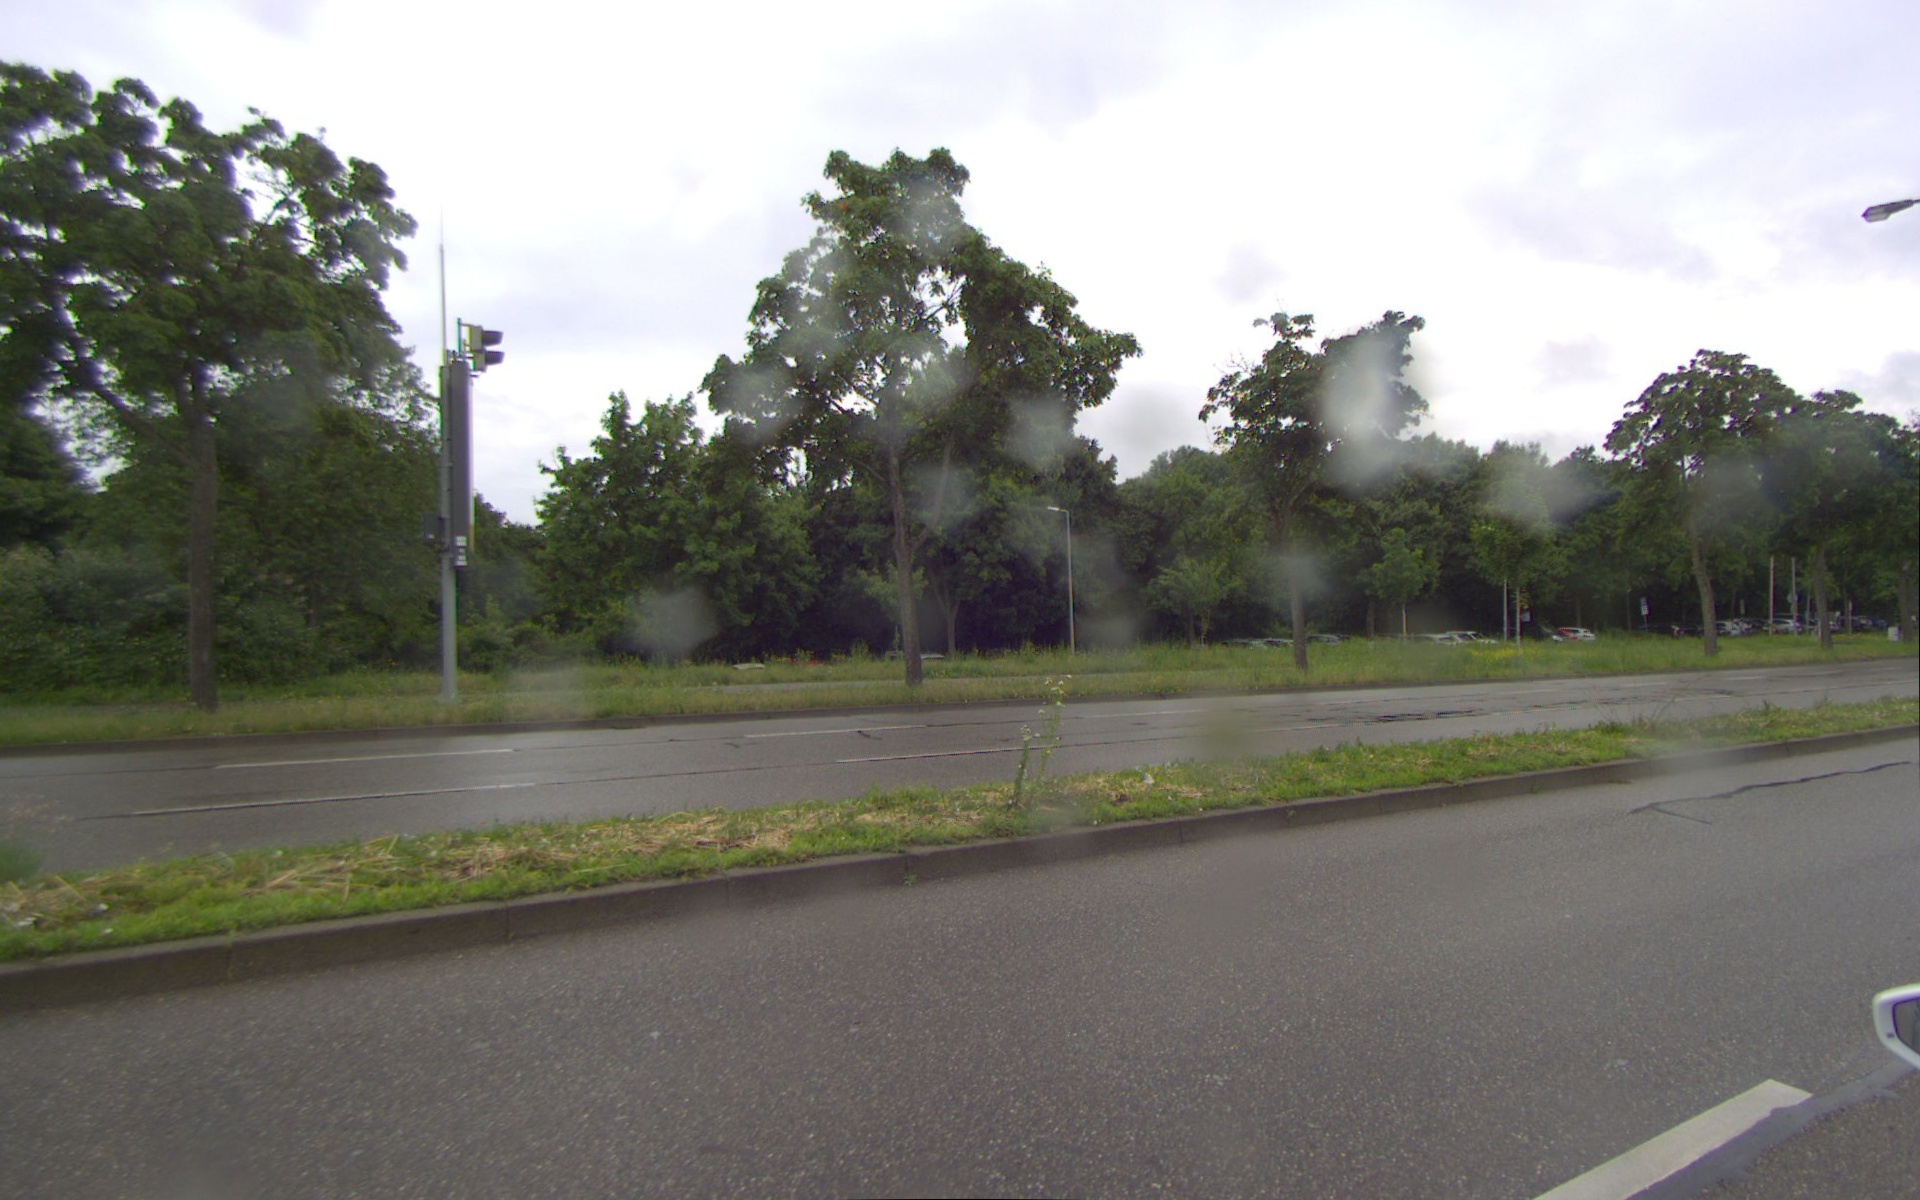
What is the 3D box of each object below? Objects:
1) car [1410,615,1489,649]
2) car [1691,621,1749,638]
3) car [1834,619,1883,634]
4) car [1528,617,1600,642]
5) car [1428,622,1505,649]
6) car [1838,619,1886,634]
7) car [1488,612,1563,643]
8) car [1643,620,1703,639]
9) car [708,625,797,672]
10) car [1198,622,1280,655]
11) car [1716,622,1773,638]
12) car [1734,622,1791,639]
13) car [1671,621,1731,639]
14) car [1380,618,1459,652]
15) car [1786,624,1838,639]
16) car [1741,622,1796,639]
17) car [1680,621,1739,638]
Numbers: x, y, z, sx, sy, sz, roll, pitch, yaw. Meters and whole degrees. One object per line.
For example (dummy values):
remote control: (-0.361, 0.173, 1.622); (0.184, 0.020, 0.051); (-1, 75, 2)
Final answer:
car: (30.475, 1.973, 62.578); (1.981, 2.040, 3.960); (0, -1, -36)
car: (66.871, 2.589, 88.459); (1.510, 1.471, 3.809); (0, -1, -36)
car: (94.596, 2.788, 105.785); (3.795, 1.471, 1.516); (-1, -1, 44)
car: (42.457, 2.059, 70.661); (1.893, 1.661, 3.960); (0, -1, -36)
car: (32.248, 2.216, 64.033); (1.981, 1.639, 3.959); (1, -1, -36)
car: (96.000, 2.813, 106.921); (3.795, 1.471, 1.516); (-1, -1, 44)
car: (38.268, 1.854, 68.025); (1.981, 2.040, 3.960); (0, -1, -36)
car: (58.549, 2.414, 82.512); (1.474, 1.445, 3.708); (0, -1, -36)
car: (-8.158, 1.859, 39.252); (1.981, 1.707, 3.960); (0, -1, -36)
car: (15.150, 2.051, 54.658); (1.981, 1.726, 3.960); (0, -1, -36)
car: (71.206, 2.698, 91.210); (1.510, 1.471, 3.809); (0, -1, -36)
car: (73.620, 2.781, 92.206); (1.510, 1.471, 3.809); (0, -1, -36)
car: (62.885, 2.497, 85.272); (1.510, 1.471, 3.809); (0, -1, -36)
car: (28.079, 2.119, 61.468); (1.981, 2.040, 3.960); (0, -1, -36)
car: (85.517, 3.172, 100.844); (1.510, 1.471, 3.809); (0, -1, -36)
car: (75.459, 2.838, 93.781); (1.510, 1.471, 3.809); (0, -1, -36)
car: (64.749, 2.524, 86.854); (1.510, 1.471, 3.809); (0, -1, -36)
